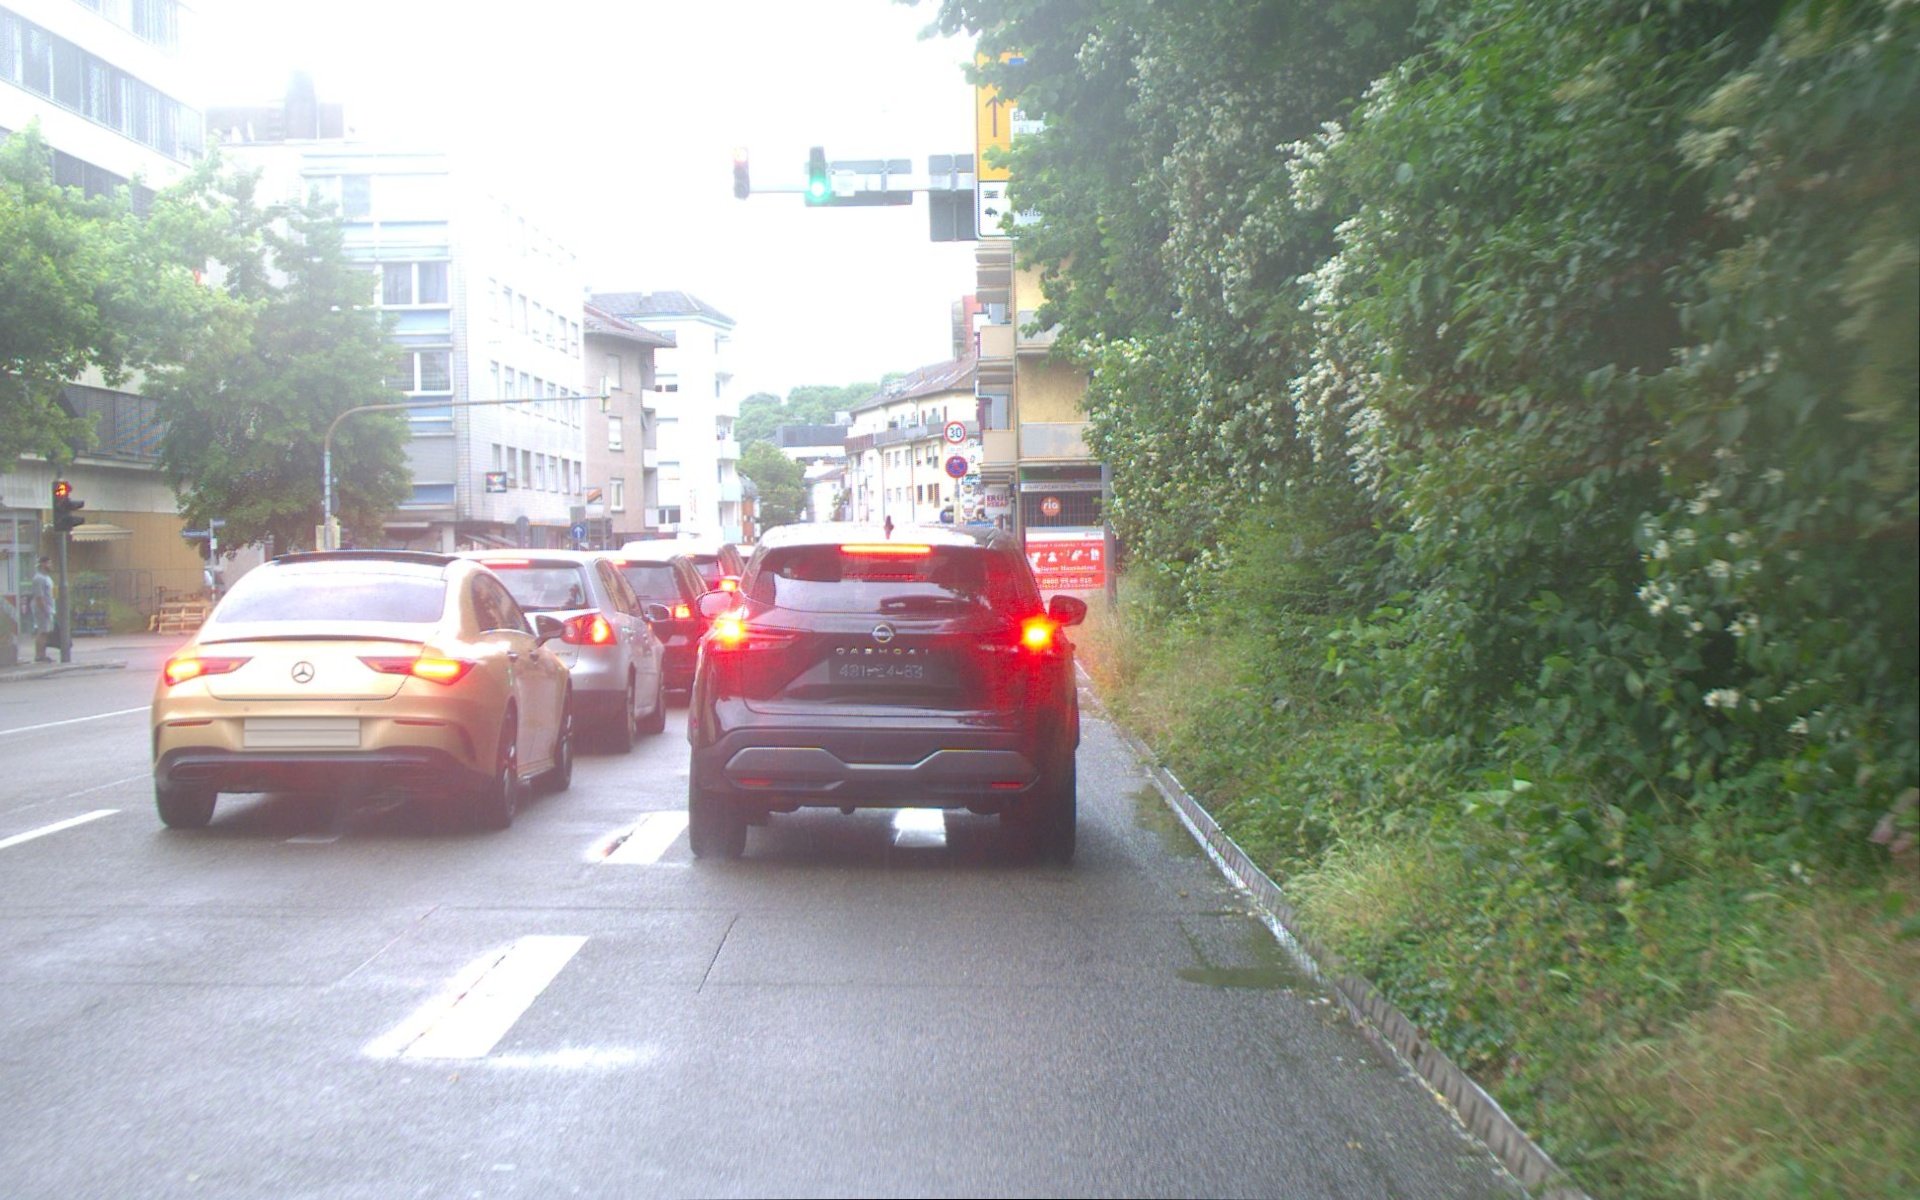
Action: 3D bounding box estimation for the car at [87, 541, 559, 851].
[{"bbox_3d":[-3.384,0.428,19.144,2.066,1.459,4.587,-1,1,-4],"label":"car"}]

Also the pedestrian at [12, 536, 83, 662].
[{"bbox_3d":[-14.921,-0.017,56.249,0.940,2.007,0.887,-3,1,-9],"label":"pedestrian"}]

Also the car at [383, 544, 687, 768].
[{"bbox_3d":[-3.074,0.351,25.621,1.744,1.482,4.162,-2,1,0],"label":"car"}]

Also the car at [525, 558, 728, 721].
[{"bbox_3d":[-3.134,0.329,32.912,1.613,1.415,3.967,-1,1,-1],"label":"car"}]

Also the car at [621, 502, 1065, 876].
[{"bbox_3d":[-0.565,0.360,17.347,1.959,1.647,4.000,-1,1,-1],"label":"car"}]

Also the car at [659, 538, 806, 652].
[{"bbox_3d":[-3.088,-0.102,47.279,1.767,1.439,4.000,-2,1,-1],"label":"car"}]

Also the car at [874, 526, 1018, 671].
[{"bbox_3d":[-0.201,-0.060,50.781,1.993,2.007,4.000,-1,1,0],"label":"car"}]

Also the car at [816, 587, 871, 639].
[{"bbox_3d":[-4.929,0.543,145.549,1.993,2.007,4.000,-3,1,1],"label":"car"}]
